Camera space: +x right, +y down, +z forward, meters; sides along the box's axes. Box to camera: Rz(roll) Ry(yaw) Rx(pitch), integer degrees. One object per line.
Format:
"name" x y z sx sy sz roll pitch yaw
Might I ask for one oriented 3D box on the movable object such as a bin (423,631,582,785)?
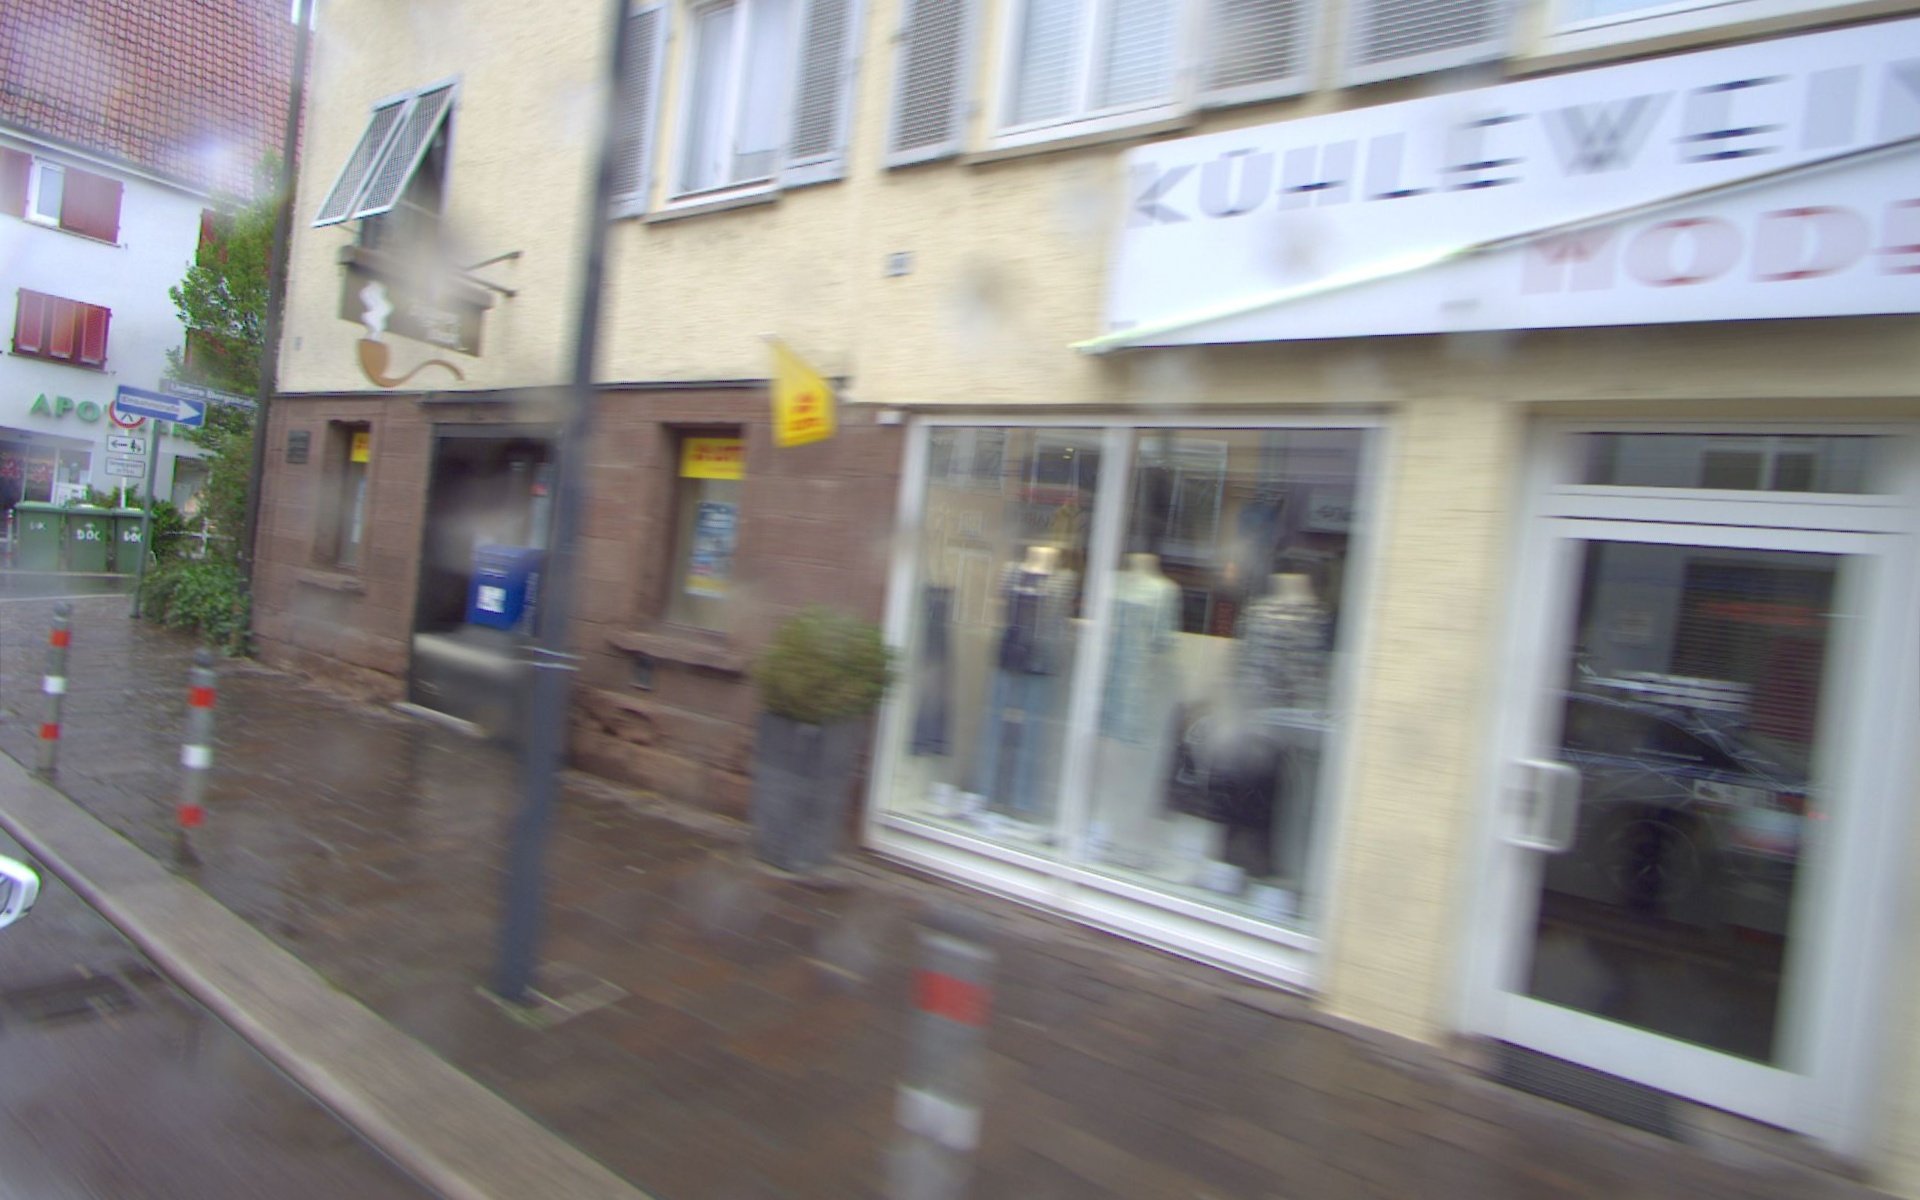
"movable object such as a bin" -3.040 0.686 6.675 0.896 0.847 0.545 8 3 36

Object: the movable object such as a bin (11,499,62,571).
"movable object such as a bin" -14.673 -1.032 15.985 0.541 1.070 0.499 5 1 41

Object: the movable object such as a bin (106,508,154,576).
"movable object such as a bin" -13.910 -0.973 16.857 0.541 1.070 0.499 5 1 41

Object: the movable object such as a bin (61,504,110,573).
"movable object such as a bin" -14.275 -0.998 16.422 0.541 1.070 0.499 5 1 41
